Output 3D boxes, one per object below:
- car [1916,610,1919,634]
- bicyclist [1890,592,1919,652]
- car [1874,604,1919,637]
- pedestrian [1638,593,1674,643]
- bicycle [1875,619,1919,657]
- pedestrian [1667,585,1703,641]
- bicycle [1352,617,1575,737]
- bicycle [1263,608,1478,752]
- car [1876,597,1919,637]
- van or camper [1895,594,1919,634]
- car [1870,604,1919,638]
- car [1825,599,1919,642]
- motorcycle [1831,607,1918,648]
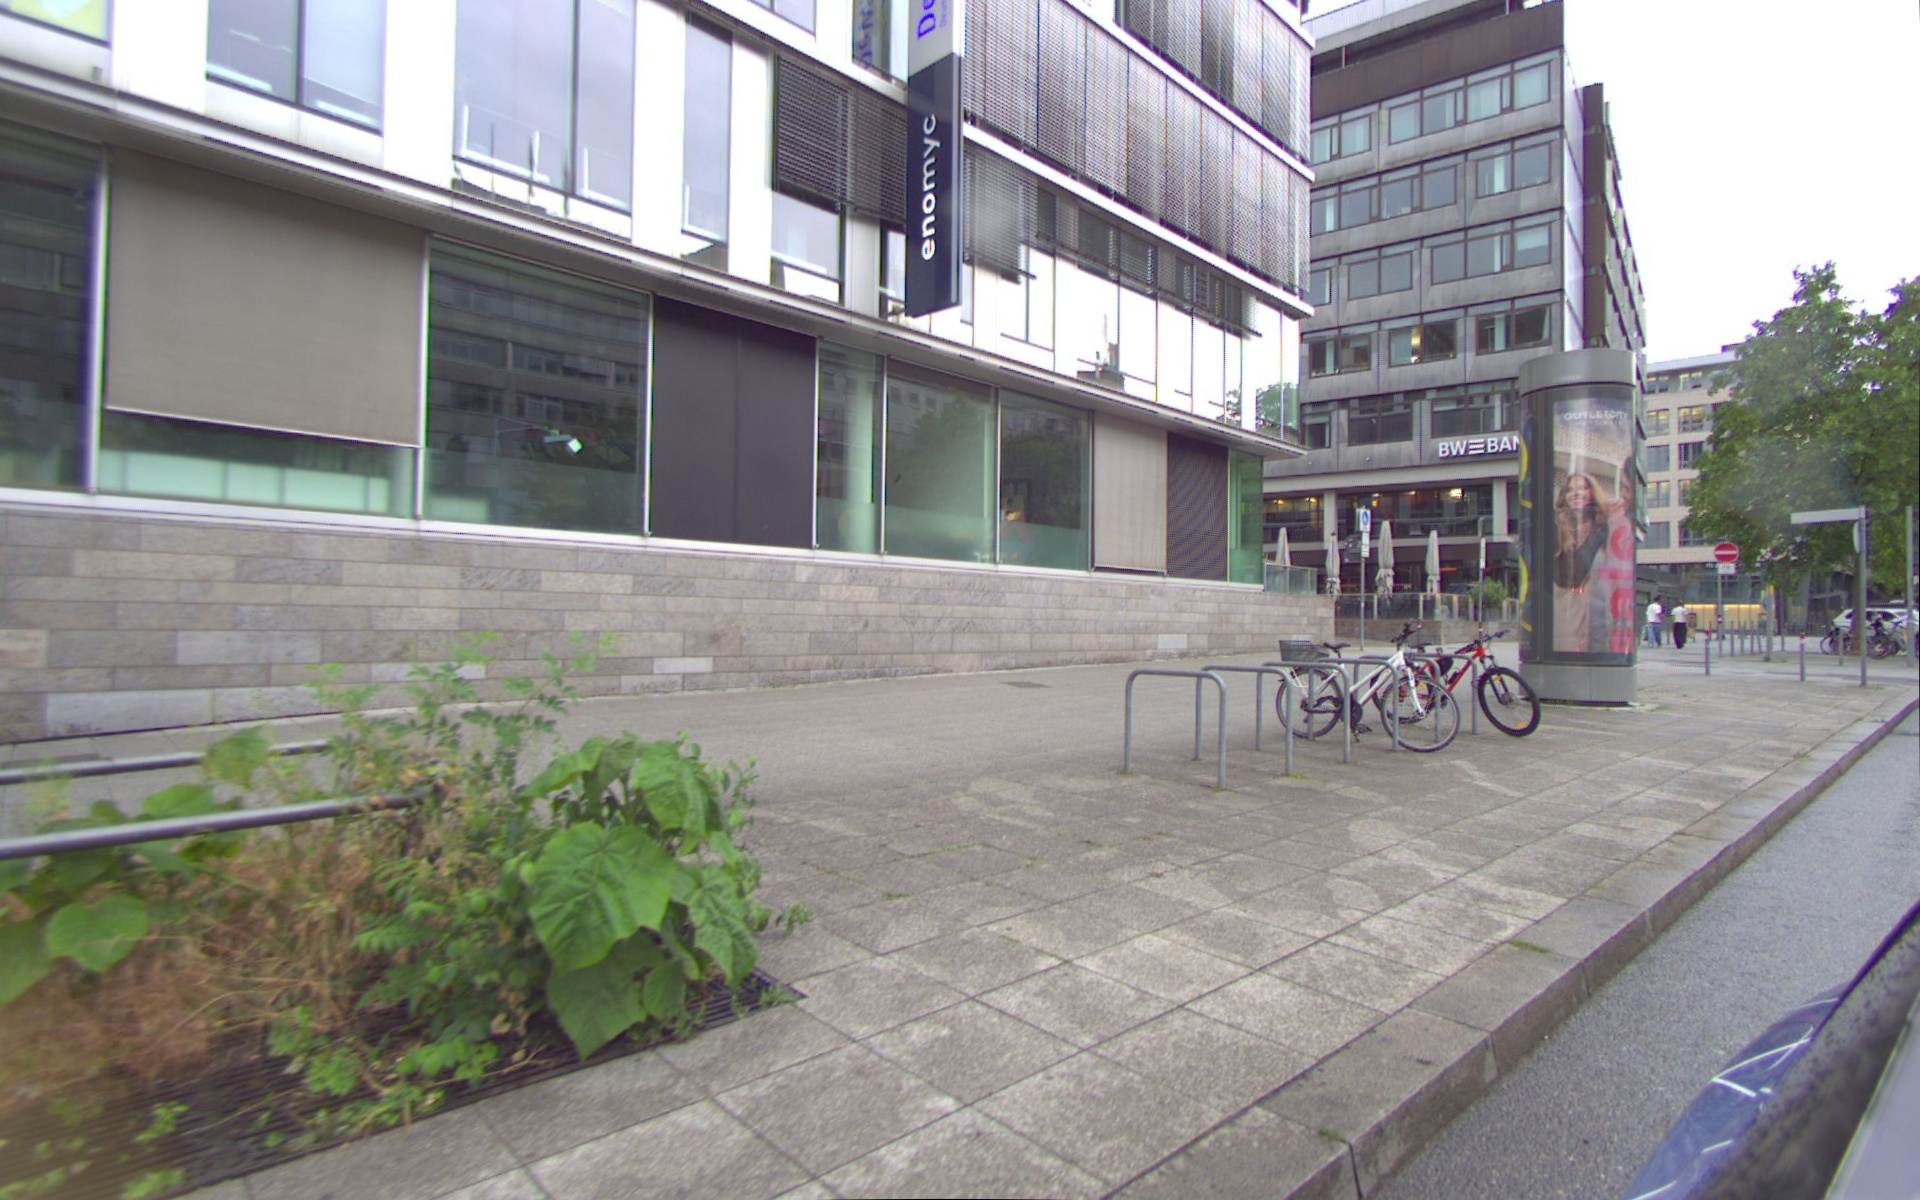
[{"bbox_3d":[58.531,1.292,58.784,1.673,1.442,4.068,0,-1,-12],"label":"car"},{"bbox_3d":[28.900,0.651,30.491,0.798,1.772,1.078,-1,-4,-40],"label":"bicyclist"},{"bbox_3d":[46.590,0.979,48.071,1.876,1.557,4.399,0,-1,-14],"label":"car"},{"bbox_3d":[26.287,0.683,38.219,0.881,1.893,0.803,1,-2,-34],"label":"pedestrian"},{"bbox_3d":[28.924,1.139,30.438,0.763,1.154,1.975,1,-2,-40],"label":"bicycle"},{"bbox_3d":[26.956,0.479,37.647,0.739,2.065,0.852,1,-2,-35],"label":"pedestrian"},{"bbox_3d":[5.326,0.761,10.826,0.793,1.118,1.989,1,0,-37],"label":"bicycle"},{"bbox_3d":[3.881,0.704,9.716,0.648,1.212,1.841,1,0,-37],"label":"bicycle"},{"bbox_3d":[48.599,0.841,50.082,1.882,2.019,4.525,0,-1,-12],"label":"car"},{"bbox_3d":[61.003,0.859,61.258,2.267,2.479,6.275,0,-1,-11],"label":"van or camper"},{"bbox_3d":[44.647,0.958,46.135,1.876,1.557,4.365,0,-1,-14],"label":"car"},{"bbox_3d":[38.535,0.829,41.219,1.876,1.671,4.811,0,-1,-11],"label":"car"},{"bbox_3d":[31.551,0.951,34.956,0.664,1.375,2.090,1,-2,-34],"label":"motorcycle"}]
